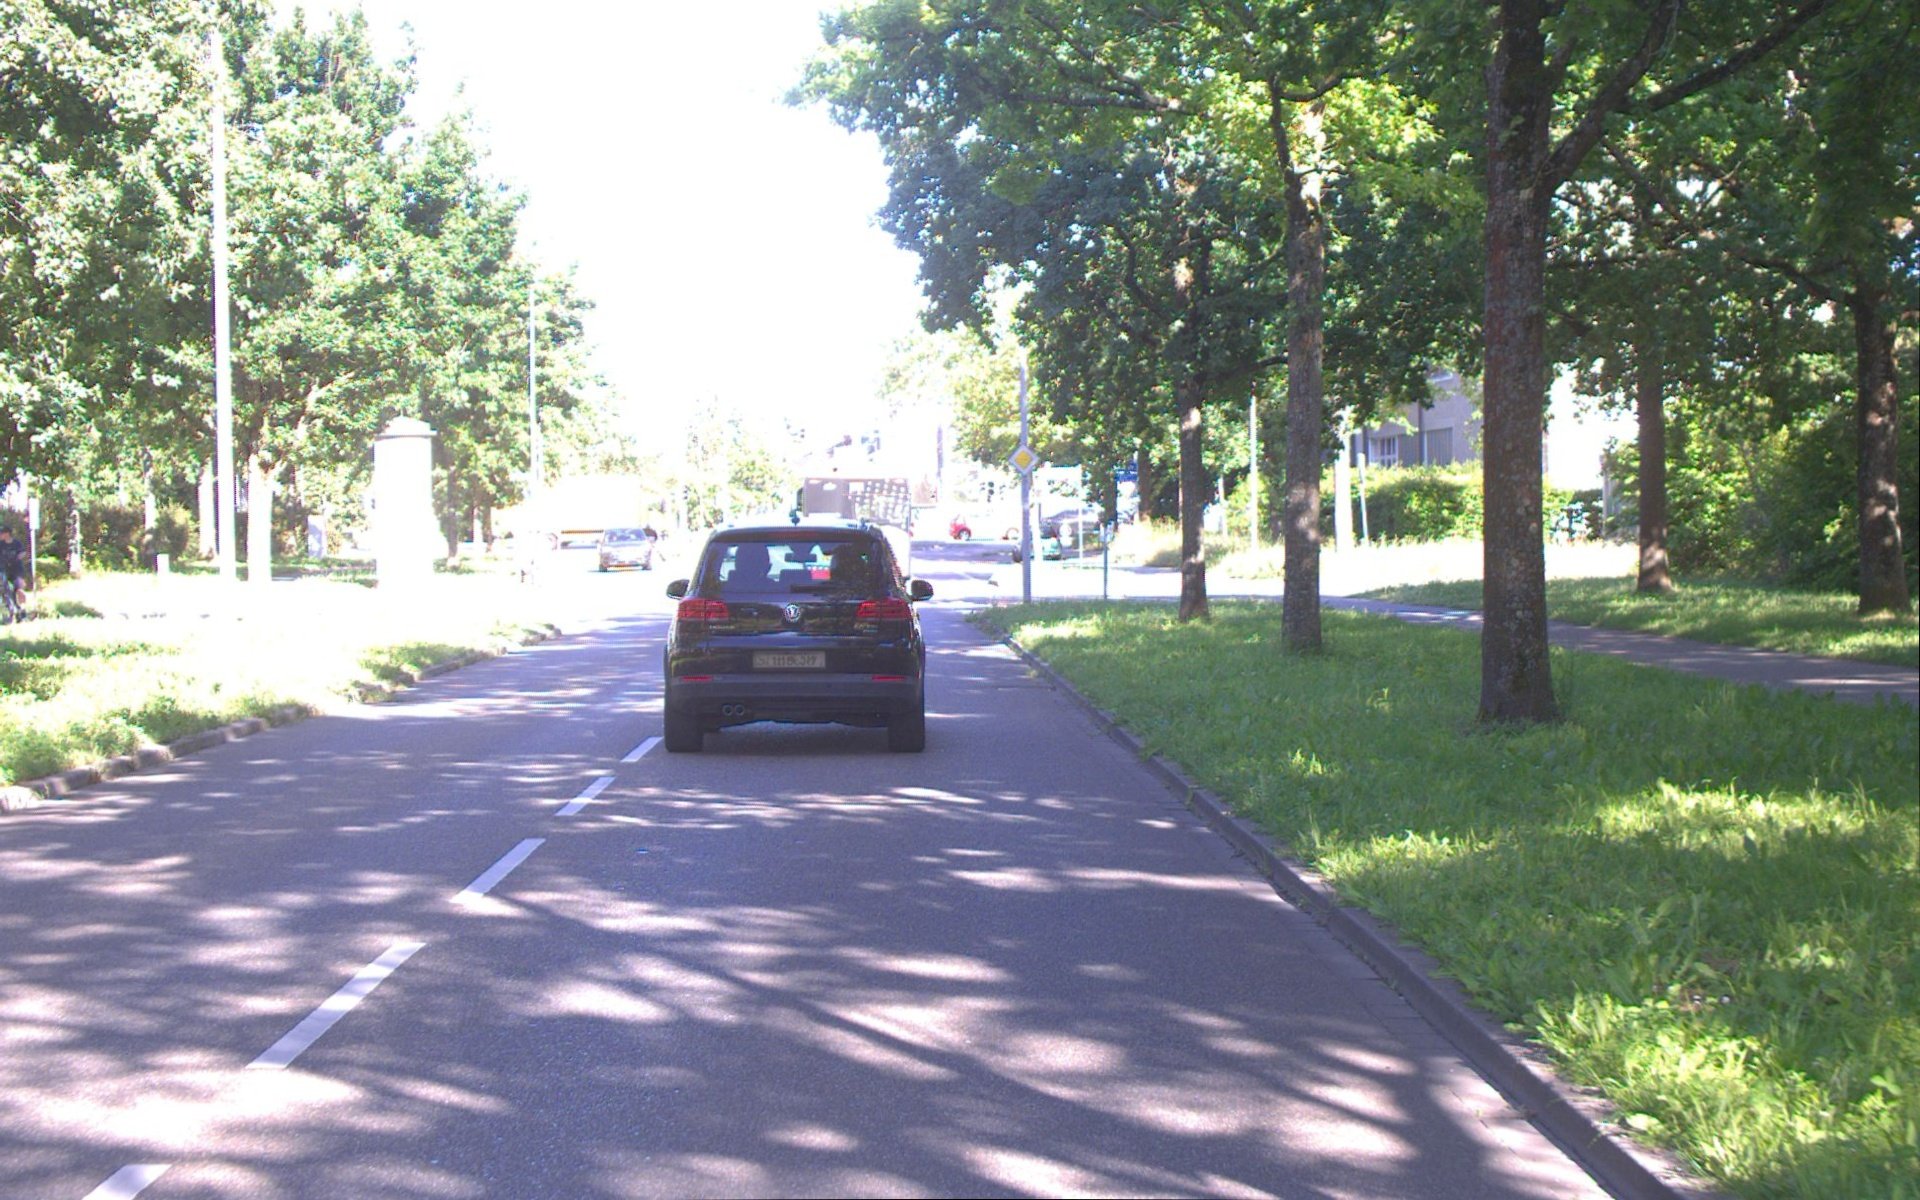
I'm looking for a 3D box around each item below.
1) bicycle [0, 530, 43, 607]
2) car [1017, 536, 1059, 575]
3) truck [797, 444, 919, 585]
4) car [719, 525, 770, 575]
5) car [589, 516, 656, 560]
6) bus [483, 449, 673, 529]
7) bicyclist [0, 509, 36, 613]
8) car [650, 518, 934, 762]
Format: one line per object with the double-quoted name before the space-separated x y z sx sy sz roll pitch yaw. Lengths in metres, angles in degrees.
"bicycle" -16.893 -0.571 61.021 0.717 1.317 1.992 1 2 -1
"car" 2.885 -1.660 127.567 1.452 1.401 2.856 1 2 0
"truck" -2.415 -2.110 84.125 2.512 3.232 8.152 -1 2 1
"car" -9.186 -2.142 146.430 1.993 2.007 4.001 1 2 -6
"car" -11.614 -2.140 118.417 1.993 1.450 4.001 -1 2 -1
"bus" -18.899 -5.457 169.905 9.101 3.765 3.388 1 1 -9
"bicyclist" -16.906 -0.708 61.174 0.686 1.824 0.934 1 1 -1
"car" -1.165 0.225 25.439 1.782 1.628 4.000 1 2 1
